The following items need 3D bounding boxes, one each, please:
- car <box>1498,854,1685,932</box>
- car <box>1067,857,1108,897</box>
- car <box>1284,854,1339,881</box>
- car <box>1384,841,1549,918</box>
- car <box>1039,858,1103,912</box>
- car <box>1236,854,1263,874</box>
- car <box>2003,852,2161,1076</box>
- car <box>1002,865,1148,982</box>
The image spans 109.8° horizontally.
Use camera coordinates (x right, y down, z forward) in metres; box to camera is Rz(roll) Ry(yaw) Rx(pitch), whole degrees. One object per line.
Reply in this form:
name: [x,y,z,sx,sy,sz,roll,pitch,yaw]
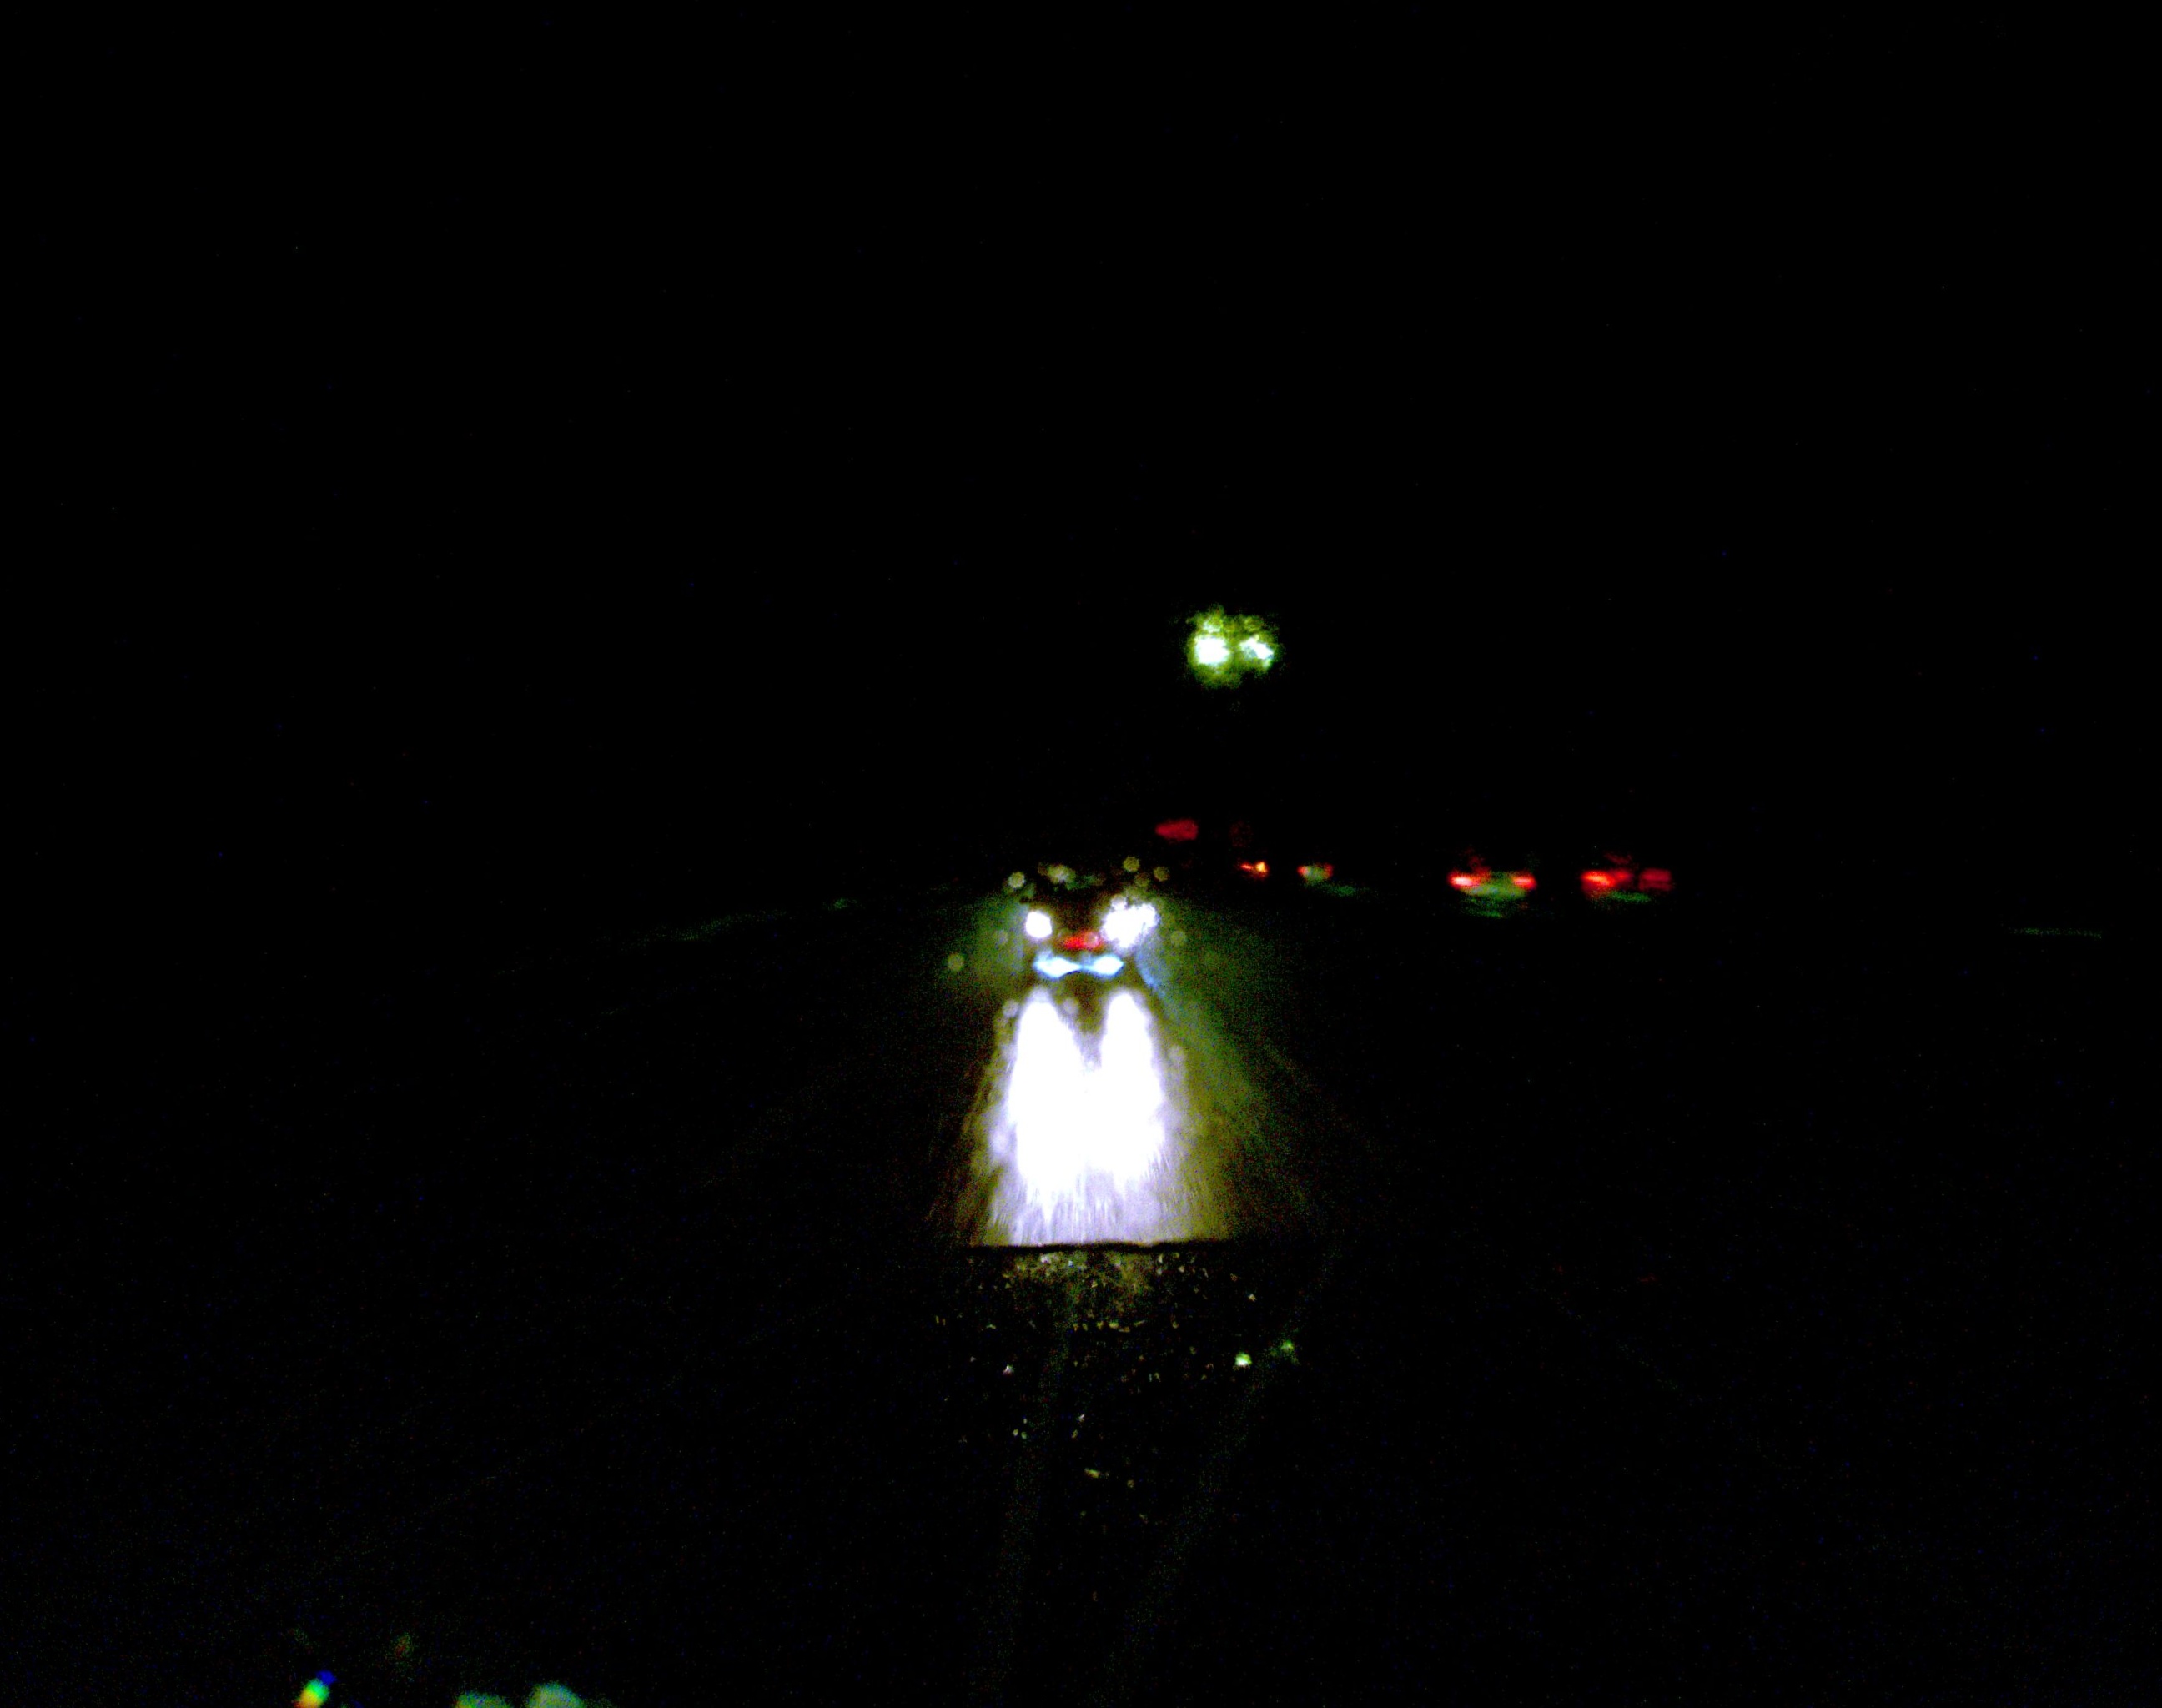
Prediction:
car: [14.177,0.978,21.526,1.999,1.764,4.703,-3,1,-1]
car: [0.268,1.092,37.596,1.784,1.696,3.998,-3,1,-1]
car: [14.885,0.839,49.436,2.028,1.494,4.895,-3,1,0]
car: [10.336,0.581,20.859,1.999,1.764,4.703,-3,1,-1]
car: [-0.269,0.951,24.808,1.849,1.441,3.874,-3,1,1]
car: [15.267,0.889,68.940,1.604,1.543,3.833,-3,1,1]
car: [10.068,0.929,5.022,2.170,1.764,4.703,-3,1,-1]
car: [0.070,0.949,11.965,1.848,1.440,4.002,-3,-1,4]
